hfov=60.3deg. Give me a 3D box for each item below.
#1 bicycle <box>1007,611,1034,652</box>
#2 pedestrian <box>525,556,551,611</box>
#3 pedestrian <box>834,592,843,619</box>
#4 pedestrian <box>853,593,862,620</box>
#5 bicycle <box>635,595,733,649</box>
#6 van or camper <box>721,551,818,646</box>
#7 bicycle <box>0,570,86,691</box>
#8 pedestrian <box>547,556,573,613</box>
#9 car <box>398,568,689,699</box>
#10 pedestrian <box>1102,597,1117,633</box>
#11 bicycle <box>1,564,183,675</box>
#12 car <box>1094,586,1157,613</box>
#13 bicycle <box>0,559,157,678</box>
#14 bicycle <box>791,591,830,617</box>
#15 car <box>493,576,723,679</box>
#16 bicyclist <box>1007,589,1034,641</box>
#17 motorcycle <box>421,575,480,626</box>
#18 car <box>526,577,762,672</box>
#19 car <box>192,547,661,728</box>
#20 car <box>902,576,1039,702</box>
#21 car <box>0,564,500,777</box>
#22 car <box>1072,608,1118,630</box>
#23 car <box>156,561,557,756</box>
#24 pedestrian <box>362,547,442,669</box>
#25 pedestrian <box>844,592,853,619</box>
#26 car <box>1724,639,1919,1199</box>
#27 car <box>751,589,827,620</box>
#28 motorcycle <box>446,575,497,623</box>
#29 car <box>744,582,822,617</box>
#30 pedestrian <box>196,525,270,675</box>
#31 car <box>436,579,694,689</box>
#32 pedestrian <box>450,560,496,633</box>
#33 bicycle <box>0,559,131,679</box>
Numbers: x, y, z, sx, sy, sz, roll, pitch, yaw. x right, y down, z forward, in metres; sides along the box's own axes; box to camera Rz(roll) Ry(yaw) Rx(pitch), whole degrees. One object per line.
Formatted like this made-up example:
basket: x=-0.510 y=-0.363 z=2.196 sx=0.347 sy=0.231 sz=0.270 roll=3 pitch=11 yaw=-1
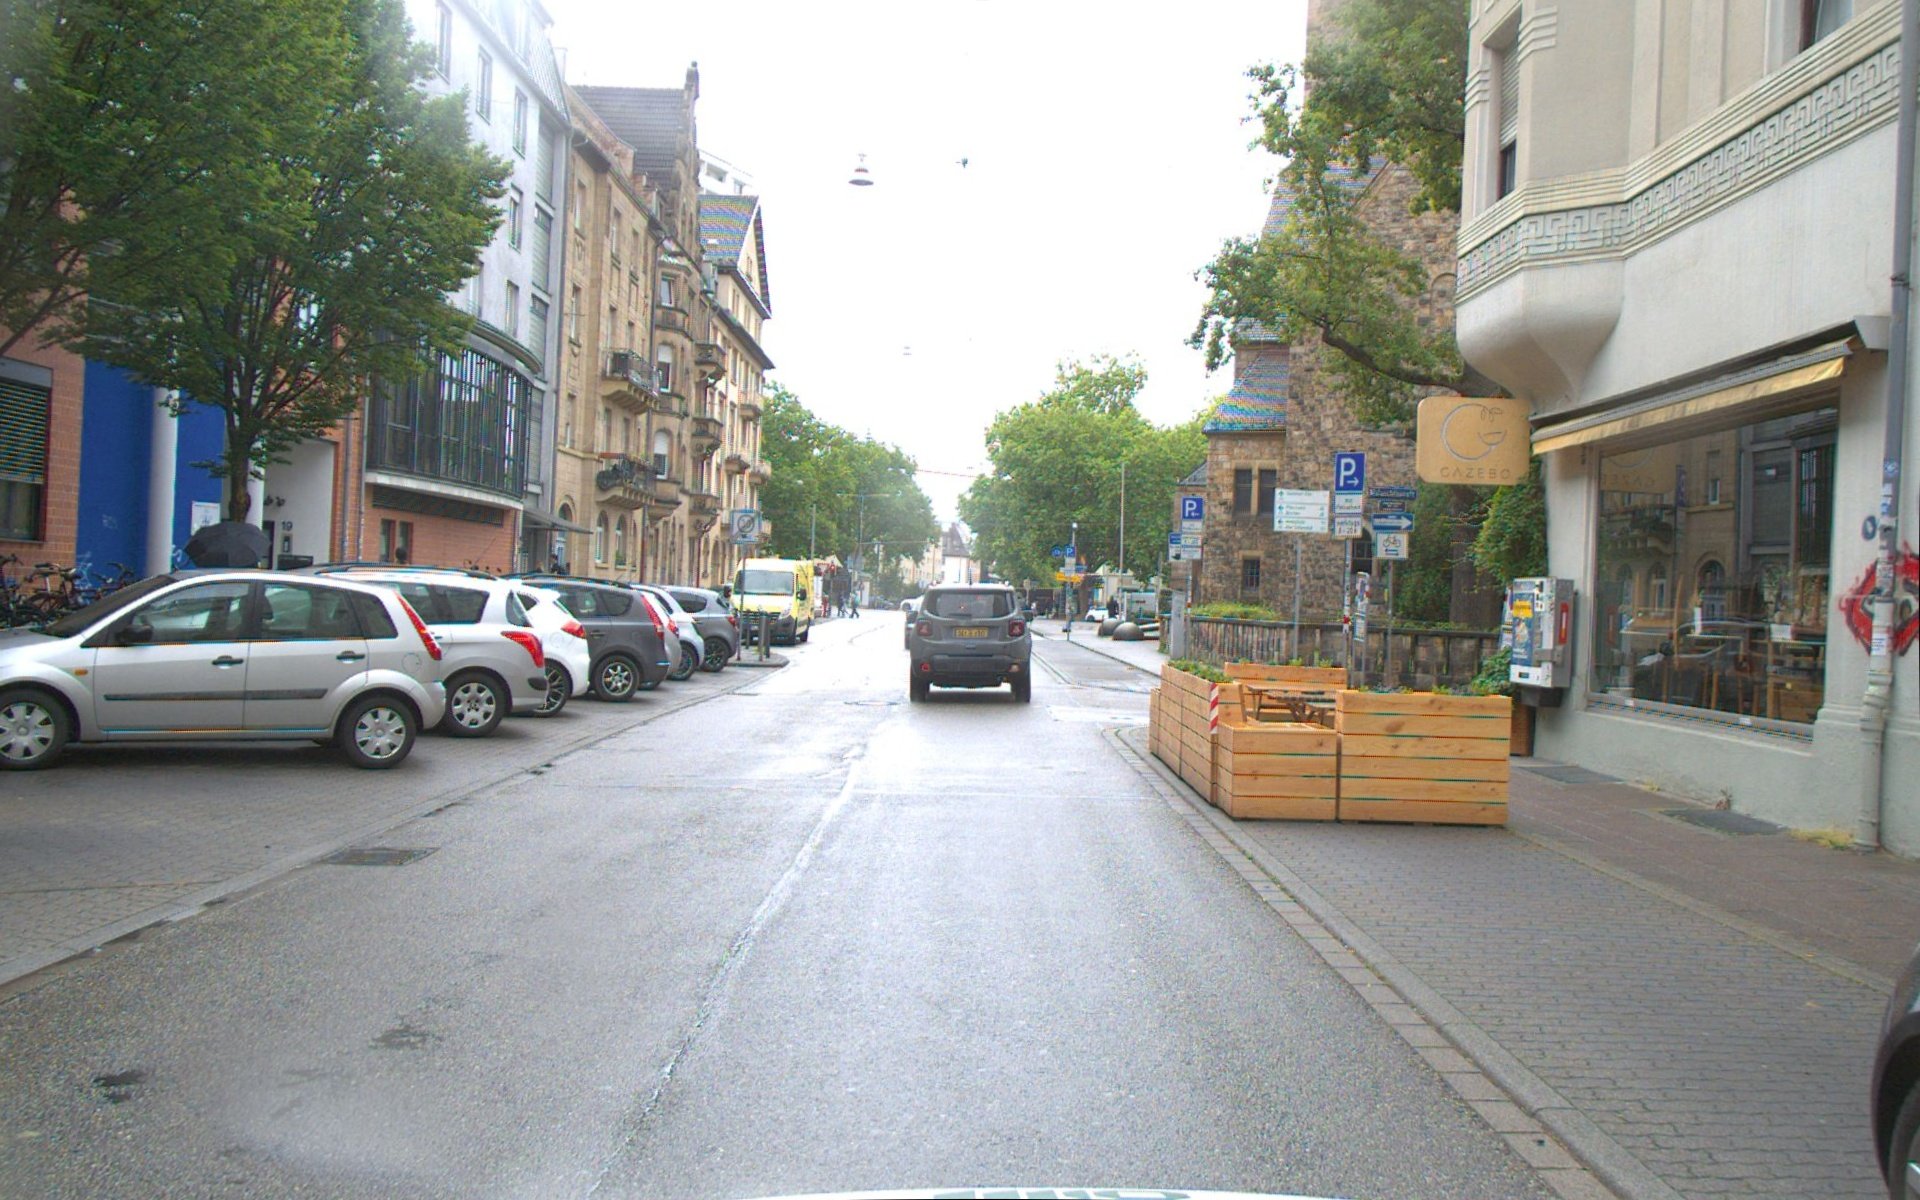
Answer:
bicycle: x=1.688 y=0.874 z=46.253 sx=0.690 sy=1.072 sz=1.813 roll=1 pitch=0 yaw=0
pedestrian: x=-13.367 y=-0.519 z=52.364 sx=0.651 sy=1.704 sz=0.791 roll=1 pitch=0 yaw=-24
pedestrian: x=-7.319 y=0.310 z=99.584 sx=0.458 sy=1.613 sz=0.659 roll=2 pitch=0 yaw=-1
pedestrian: x=-6.203 y=0.378 z=100.482 sx=0.458 sy=1.613 sz=0.752 roll=2 pitch=0 yaw=-1
bicycle: x=-6.356 y=0.501 z=38.146 sx=2.089 sy=1.116 sz=0.594 roll=3 pitch=0 yaw=0
van or camper: x=-5.636 y=0.058 z=49.786 sx=2.078 sy=2.575 sz=6.873 roll=-2 pitch=-2 yaw=0
bicycle: x=-10.377 y=0.260 z=17.465 sx=1.858 sy=1.172 sz=0.553 roll=6 pitch=0 yaw=-3
pedestrian: x=-12.740 y=-0.483 z=52.649 sx=0.651 sy=1.788 sz=0.791 roll=1 pitch=0 yaw=-24
car: x=-5.473 y=0.445 z=21.793 sx=3.341 sy=1.569 sz=1.663 roll=3 pitch=0 yaw=-31
pedestrian: x=7.362 y=0.721 z=81.473 sx=0.676 sy=1.741 sz=0.684 roll=1 pitch=0 yaw=0
bicycle: x=-10.882 y=0.239 z=20.766 sx=1.858 sy=1.172 sz=0.553 roll=6 pitch=0 yaw=-3
car: x=15.555 y=-0.026 z=155.683 sx=5.780 sy=2.375 sz=2.060 roll=1 pitch=0 yaw=3
bicycle: x=-10.440 y=0.204 z=19.168 sx=1.858 sy=1.172 sz=0.553 roll=6 pitch=0 yaw=-3
bicycle: x=-8.448 y=0.222 z=93.410 sx=2.078 sy=1.469 sz=0.536 roll=1 pitch=0 yaw=-20
car: x=-5.805 y=0.457 z=27.340 sx=3.340 sy=1.533 sz=1.664 roll=3 pitch=0 yaw=-31
bicyclist: x=1.700 y=0.412 z=46.254 sx=0.690 sy=1.428 sz=1.171 roll=1 pitch=0 yaw=0
motorcycle: x=-12.737 y=0.005 z=41.412 sx=0.738 sy=1.194 sz=2.116 roll=4 pitch=0 yaw=1
car: x=-5.781 y=0.449 z=30.266 sx=3.779 sy=1.533 sz=1.969 roll=3 pitch=0 yaw=-31
car: x=-5.926 y=0.450 z=18.503 sx=4.469 sy=1.566 sz=2.311 roll=6 pitch=-3 yaw=-33
car: x=0.103 y=0.548 z=25.190 sx=1.860 sy=1.700 sz=4.504 roll=1 pitch=0 yaw=-1
car: x=-5.724 y=0.500 z=13.120 sx=3.672 sy=1.477 sz=1.665 roll=1 pitch=0 yaw=-36
car: x=10.106 y=1.406 z=123.477 sx=3.120 sy=1.527 sz=1.543 roll=1 pitch=0 yaw=17
car: x=-5.769 y=0.521 z=15.878 sx=3.344 sy=1.683 sz=1.615 roll=1 pitch=0 yaw=-33
pedestrian: x=-8.541 y=0.119 z=25.338 sx=0.808 sy=1.782 sz=0.757 roll=4 pitch=0 yaw=7
pedestrian: x=-6.709 y=0.343 z=99.654 sx=0.458 sy=1.613 sz=0.752 roll=2 pitch=0 yaw=-1
car: x=2.841 y=0.832 z=2.445 sx=1.675 sy=1.425 sz=3.704 roll=1 pitch=0 yaw=-1
car: x=-8.657 y=0.218 z=83.991 sx=3.382 sy=1.339 sz=1.759 roll=4 pitch=-1 yaw=-34
motorcycle: x=-12.851 y=-0.028 z=43.564 sx=0.738 sy=1.194 sz=2.114 roll=4 pitch=0 yaw=-4
car: x=-9.275 y=-0.024 z=86.611 sx=3.696 sy=1.586 sz=1.653 roll=4 pitch=-1 yaw=-34
pedestrian: x=-8.595 y=0.003 z=19.564 sx=0.599 sy=1.737 sz=0.433 roll=2 pitch=-2 yaw=0
car: x=-5.870 y=0.515 z=24.651 sx=3.345 sy=1.483 sz=1.661 roll=3 pitch=0 yaw=-34
pedestrian: x=-10.834 y=-0.076 z=36.838 sx=0.694 sy=1.578 sz=0.608 roll=4 pitch=0 yaw=7
bicycle: x=-10.392 y=0.183 z=18.456 sx=1.858 sy=1.172 sz=0.553 roll=6 pitch=0 yaw=-3
